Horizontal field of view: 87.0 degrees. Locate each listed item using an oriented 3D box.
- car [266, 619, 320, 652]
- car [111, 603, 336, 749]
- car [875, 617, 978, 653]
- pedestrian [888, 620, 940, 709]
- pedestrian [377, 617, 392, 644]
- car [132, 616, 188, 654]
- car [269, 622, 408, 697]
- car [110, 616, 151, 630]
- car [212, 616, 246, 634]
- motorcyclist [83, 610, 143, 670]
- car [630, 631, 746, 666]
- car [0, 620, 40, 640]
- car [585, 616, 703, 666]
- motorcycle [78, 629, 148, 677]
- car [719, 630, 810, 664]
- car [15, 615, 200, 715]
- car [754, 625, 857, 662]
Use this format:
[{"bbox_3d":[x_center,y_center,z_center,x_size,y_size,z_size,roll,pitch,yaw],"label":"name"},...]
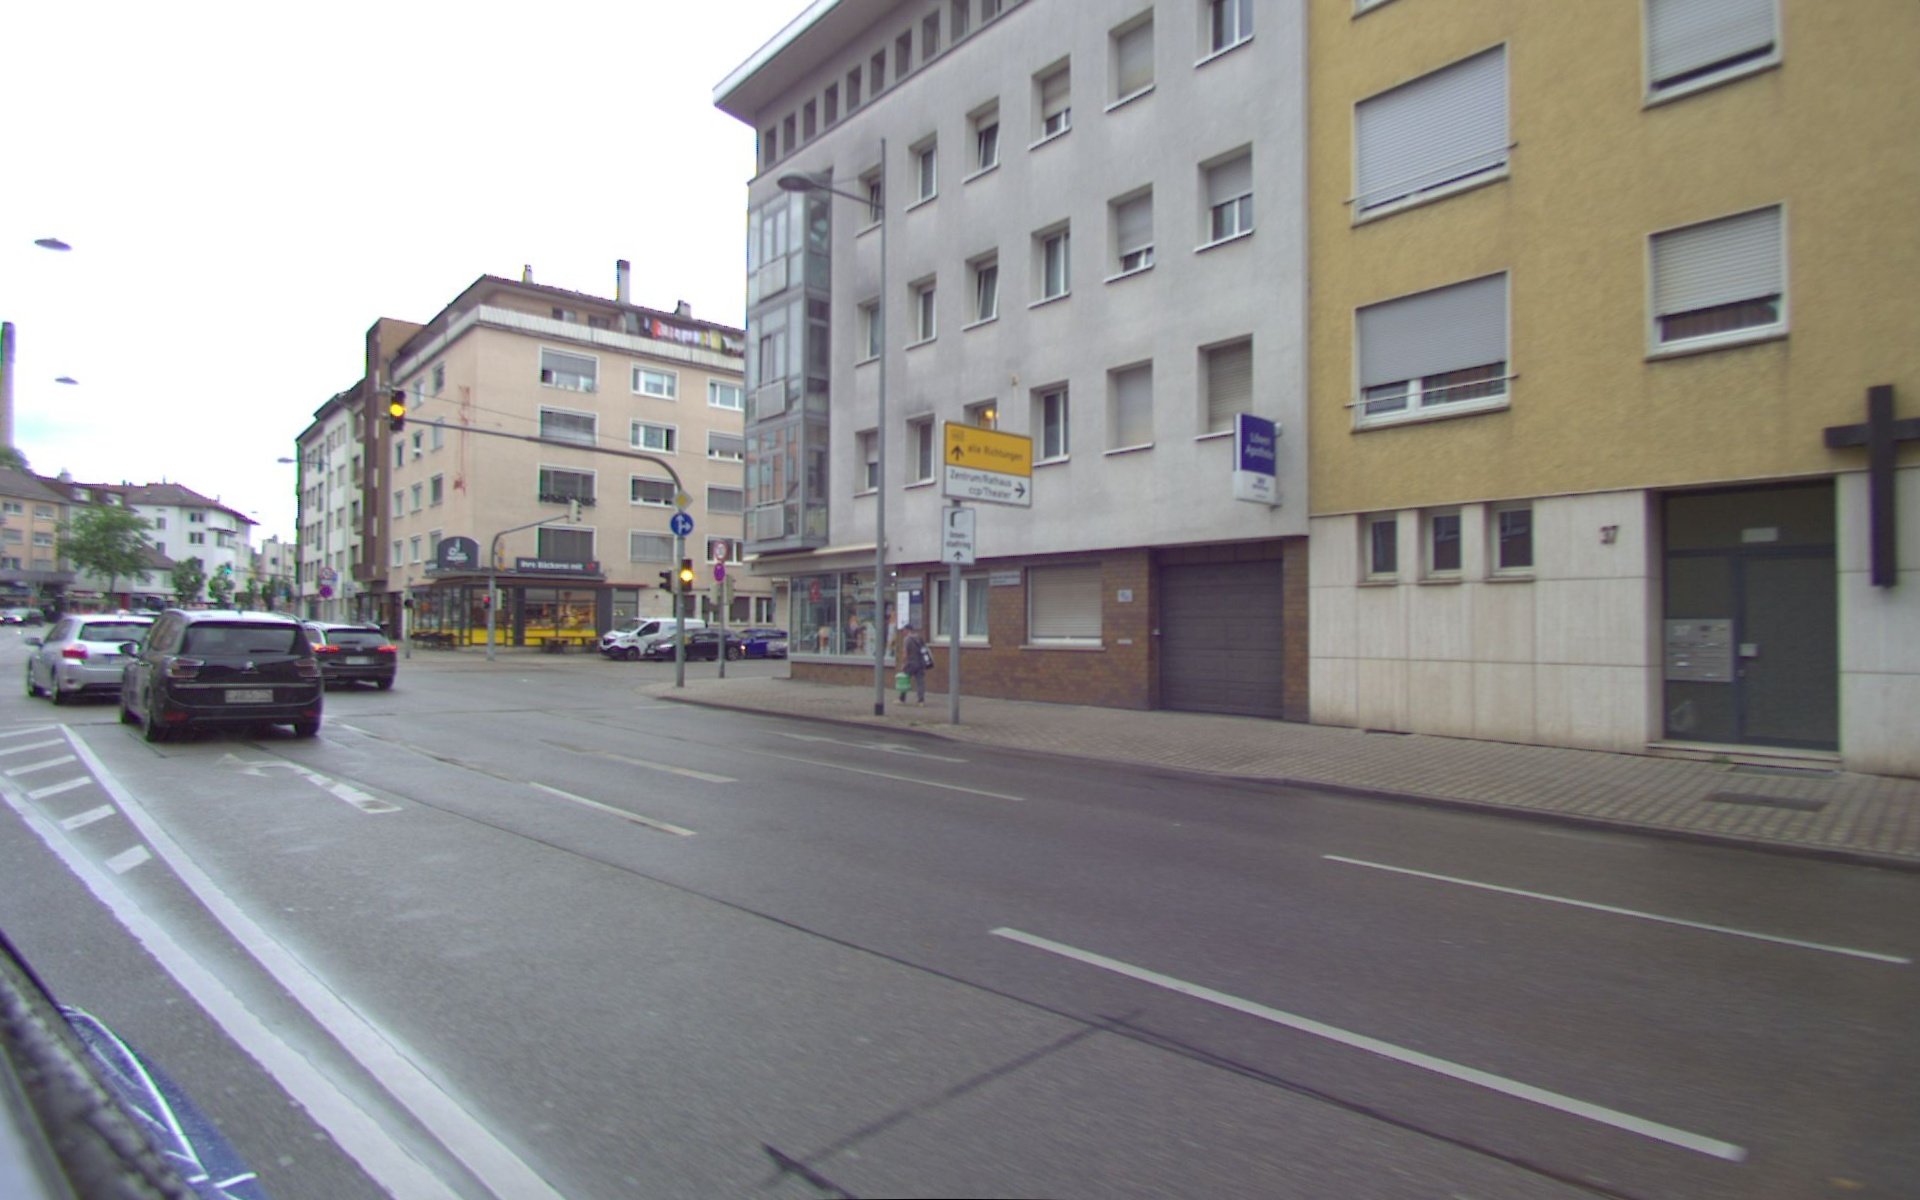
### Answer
[{"bbox_3d":[-35.187,1.843,53.352,1.883,1.566,4.639,3,-2,-39],"label":"car"},{"bbox_3d":[-10.015,0.890,13.618,1.799,1.620,4.434,3,-2,-44],"label":"car"},{"bbox_3d":[-1.419,1.586,44.475,1.999,1.398,4.437,-3,-5,42],"label":"car"},{"bbox_3d":[-0.864,1.187,18.877,0.678,1.593,0.653,-1,0,-41],"label":"pedestrian"},{"bbox_3d":[-34.830,1.860,61.290,0.668,1.595,0.538,0,-1,36],"label":"pedestrian"},{"bbox_3d":[-37.669,1.614,47.622,1.798,1.652,4.379,2,-2,-41],"label":"car"},{"bbox_3d":[-14.056,1.275,22.785,1.799,1.444,4.403,3,-2,-43],"label":"car"},{"bbox_3d":[-79.491,2.187,97.039,1.783,1.352,4.013,-1,-1,-20],"label":"car"},{"bbox_3d":[-86.726,2.903,120.149,1.966,2.029,4.011,-1,-1,-15],"label":"car"},{"bbox_3d":[-21.847,1.013,26.102,0.860,1.504,0.910,0,-1,25],"label":"motorcyclist"},{"bbox_3d":[-11.239,1.986,42.037,2.045,1.387,4.281,-3,-3,40],"label":"car"},{"bbox_3d":[-73.204,2.290,78.172,1.812,1.453,4.013,-1,-1,-21],"label":"car"},{"bbox_3d":[-14.670,1.895,47.147,2.047,2.118,4.796,2,0,44],"label":"car"},{"bbox_3d":[-21.878,1.350,26.118,2.091,1.200,0.584,0,-1,26],"label":"motorcycle"},{"bbox_3d":[-10.150,2.414,52.725,2.045,1.566,4.282,2,0,40],"label":"car"},{"bbox_3d":[-15.413,1.086,18.233,4.133,1.538,1.914,0,-2,41],"label":"car"},{"bbox_3d":[-7.183,2.029,47.372,2.044,1.602,4.594,-3,-3,39],"label":"car"}]
